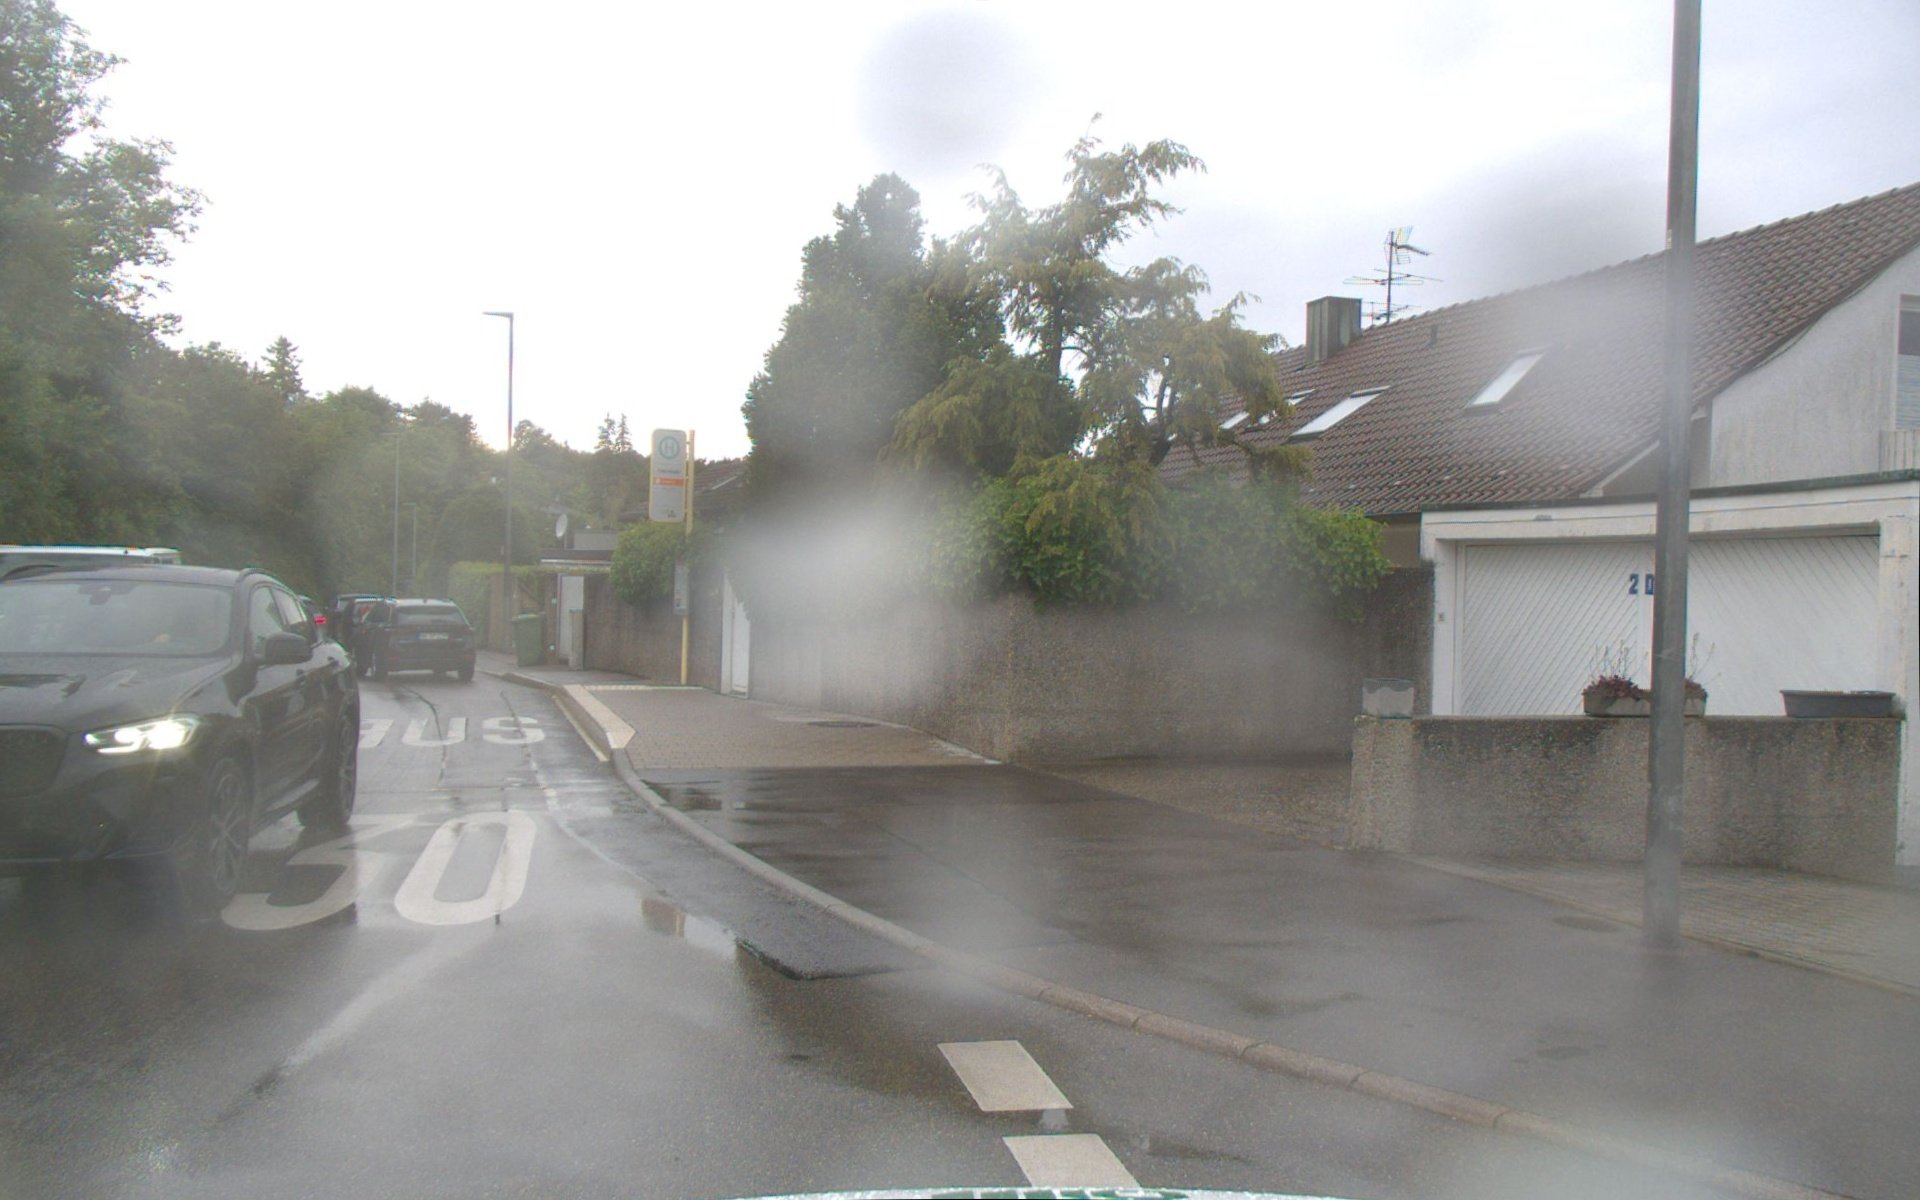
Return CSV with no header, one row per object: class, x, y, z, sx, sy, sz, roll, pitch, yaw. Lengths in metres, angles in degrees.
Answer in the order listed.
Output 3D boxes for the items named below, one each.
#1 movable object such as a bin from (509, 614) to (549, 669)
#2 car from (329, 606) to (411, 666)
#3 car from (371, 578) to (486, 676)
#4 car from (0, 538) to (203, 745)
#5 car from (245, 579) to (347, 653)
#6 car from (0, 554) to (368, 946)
movable object such as a bin,-9.125,0.870,35.036,0.728,1.107,0.596,-2,1,-22
car,-15.890,0.930,44.434,1.733,1.487,4.268,1,0,-24
car,-9.848,0.564,30.626,1.840,1.539,4.070,2,-5,-18
car,-9.834,0.391,18.554,2.081,2.009,5.140,0,0,-21
car,-15.715,0.365,39.042,1.968,1.633,4.373,1,0,-25
car,-4.544,0.622,8.986,1.896,1.633,4.330,0,0,-12
